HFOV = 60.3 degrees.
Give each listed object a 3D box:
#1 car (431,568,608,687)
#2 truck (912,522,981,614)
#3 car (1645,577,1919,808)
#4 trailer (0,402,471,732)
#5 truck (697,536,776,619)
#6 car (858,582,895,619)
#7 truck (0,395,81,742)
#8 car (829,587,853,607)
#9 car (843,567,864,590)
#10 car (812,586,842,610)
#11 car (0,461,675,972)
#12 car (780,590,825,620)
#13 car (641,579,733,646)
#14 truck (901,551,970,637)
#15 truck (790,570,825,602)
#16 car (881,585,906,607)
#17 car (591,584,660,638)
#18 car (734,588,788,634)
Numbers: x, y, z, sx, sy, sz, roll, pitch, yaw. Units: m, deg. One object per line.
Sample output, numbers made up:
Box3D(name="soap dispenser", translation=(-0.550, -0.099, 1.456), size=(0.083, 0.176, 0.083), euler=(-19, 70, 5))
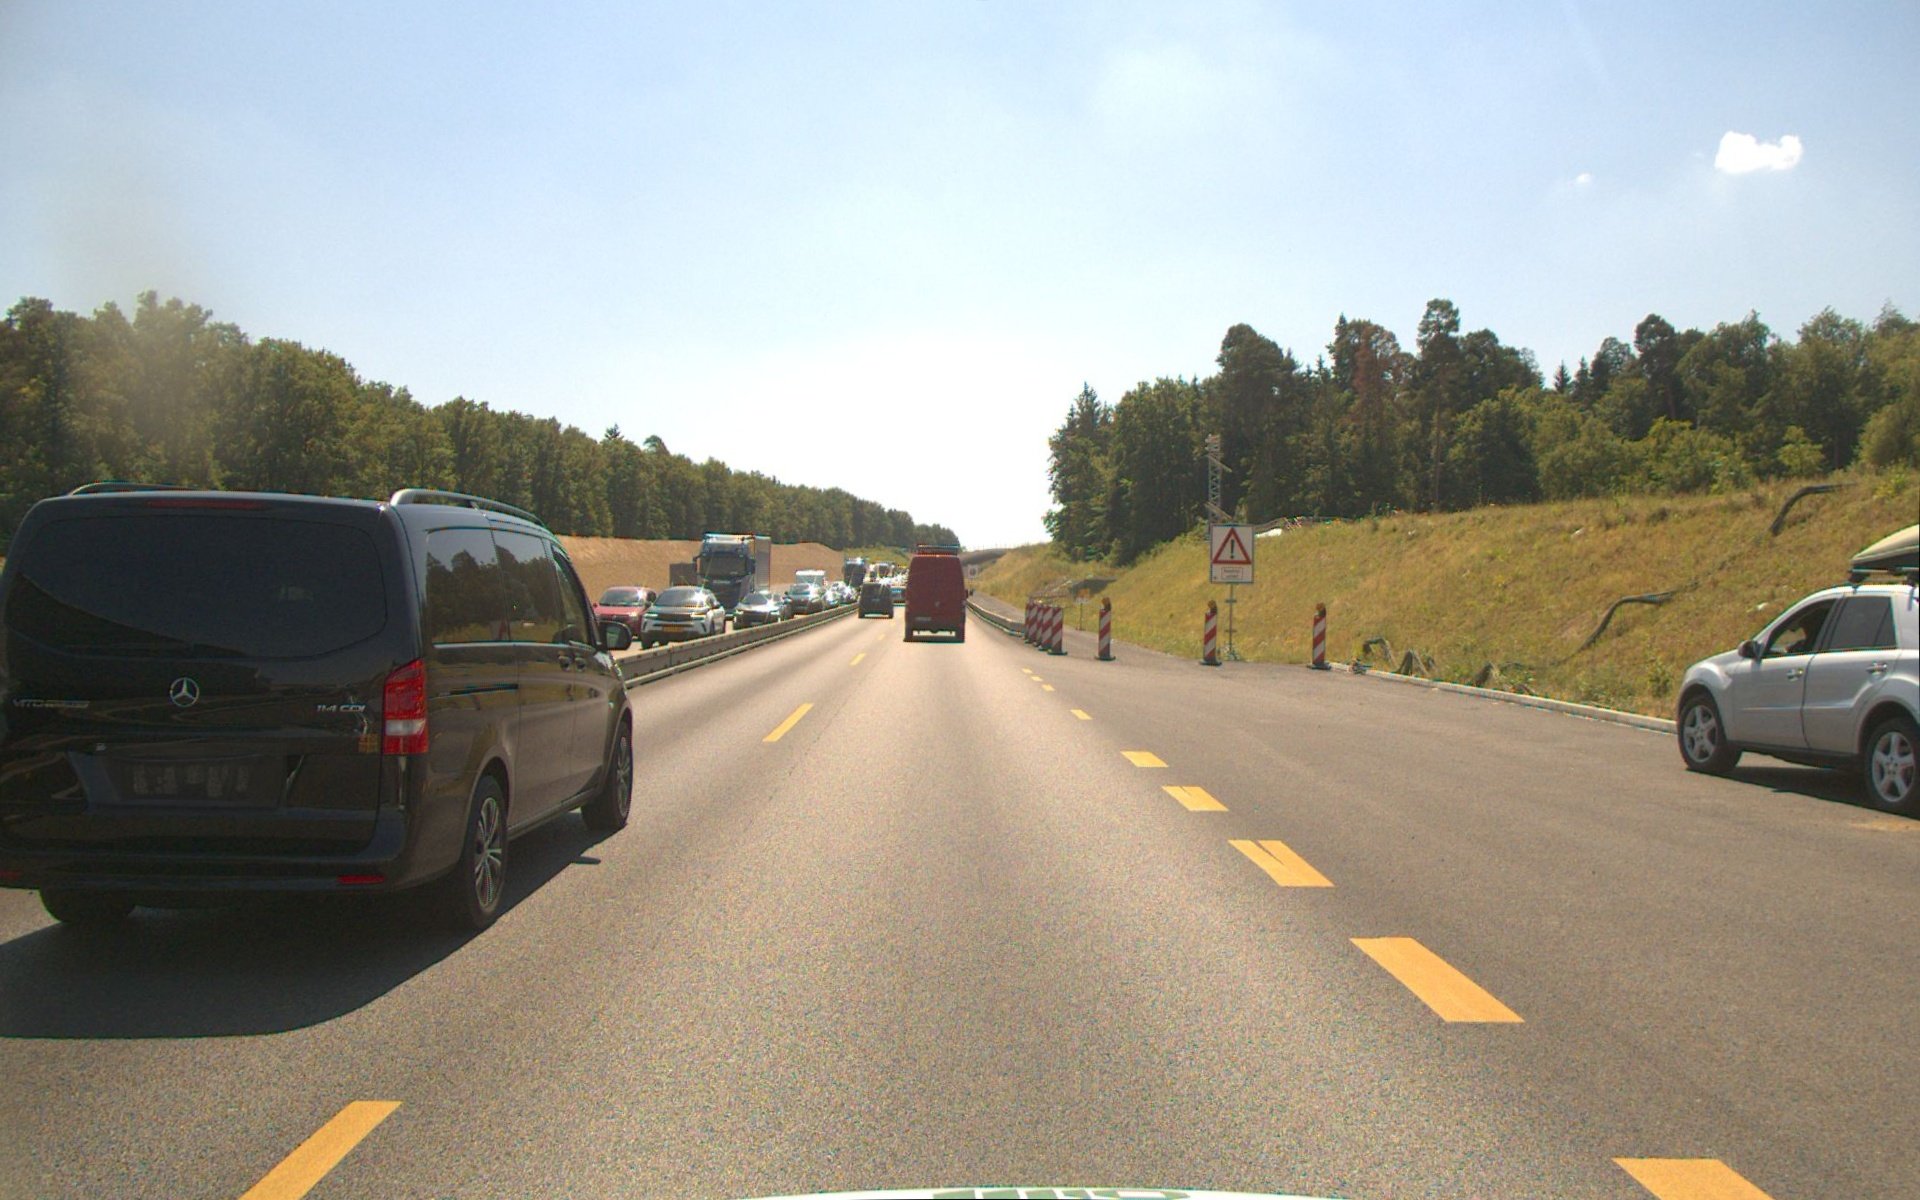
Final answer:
Box3D(name="car", translation=(-6.772, 0.427, 25.895), size=(1.690, 1.659, 4.389), euler=(1, -1, -2))
Box3D(name="truck", translation=(-0.979, -1.980, 114.042), size=(4.311, 5.592, 16.598), euler=(1, -1, -1))
Box3D(name="car", translation=(7.878, 0.691, 14.074), size=(1.739, 1.706, 4.851), euler=(2, 1, -4))
Box3D(name="trailer", translation=(-9.824, -0.288, 21.647), size=(2.298, 2.983, 15.268), euler=(1, 0, 0))
Box3D(name="truck", translation=(-10.801, -0.990, 80.785), size=(2.457, 3.680, 9.639), euler=(1, -1, 0))
Box3D(name="car", translation=(-4.378, 0.024, 86.854), size=(1.716, 1.856, 4.781), euler=(1, 0, -1))
Box3D(name="truck", translation=(-9.799, -0.324, 13.612), size=(2.349, 3.112, 5.061), euler=(1, -1, 0))
Box3D(name="car", translation=(-8.669, -0.183, 120.538), size=(1.434, 1.351, 3.371), euler=(1, -1, 0))
Box3D(name="car", translation=(-12.858, -2.559, 199.242), size=(2.337, 2.625, 3.998), euler=(1, -1, -2))
Box3D(name="car", translation=(-7.986, -0.104, 99.491), size=(1.434, 1.351, 3.371), euler=(1, -1, 0))
Box3D(name="car", translation=(-2.919, 0.449, 8.961), size=(1.836, 1.883, 5.477), euler=(1, 0, -1))
Box3D(name="car", translation=(-7.726, 0.257, 81.531), size=(1.803, 1.351, 3.942), euler=(1, -1, 0))
Box3D(name="car", translation=(-6.927, 0.338, 42.332), size=(1.591, 1.584, 4.069), euler=(1, -1, 1))
Box3D(name="truck", translation=(-0.807, -0.138, 54.055), size=(2.109, 2.635, 5.331), euler=(1, -1, -1))
Box3D(name="truck", translation=(-12.402, -1.129, 134.742), size=(2.351, 2.399, 5.226), euler=(1, -1, 0))
Box3D(name="car", translation=(-5.074, -0.284, 126.558), size=(1.794, 1.549, 3.960), euler=(1, -1, -1))
Box3D(name="car", translation=(-9.590, 0.330, 47.590), size=(1.348, 1.488, 3.151), euler=(1, -1, -1))
Box3D(name="car", translation=(-7.383, 0.433, 61.594), size=(1.649, 1.624, 3.223), euler=(1, -1, -1))
